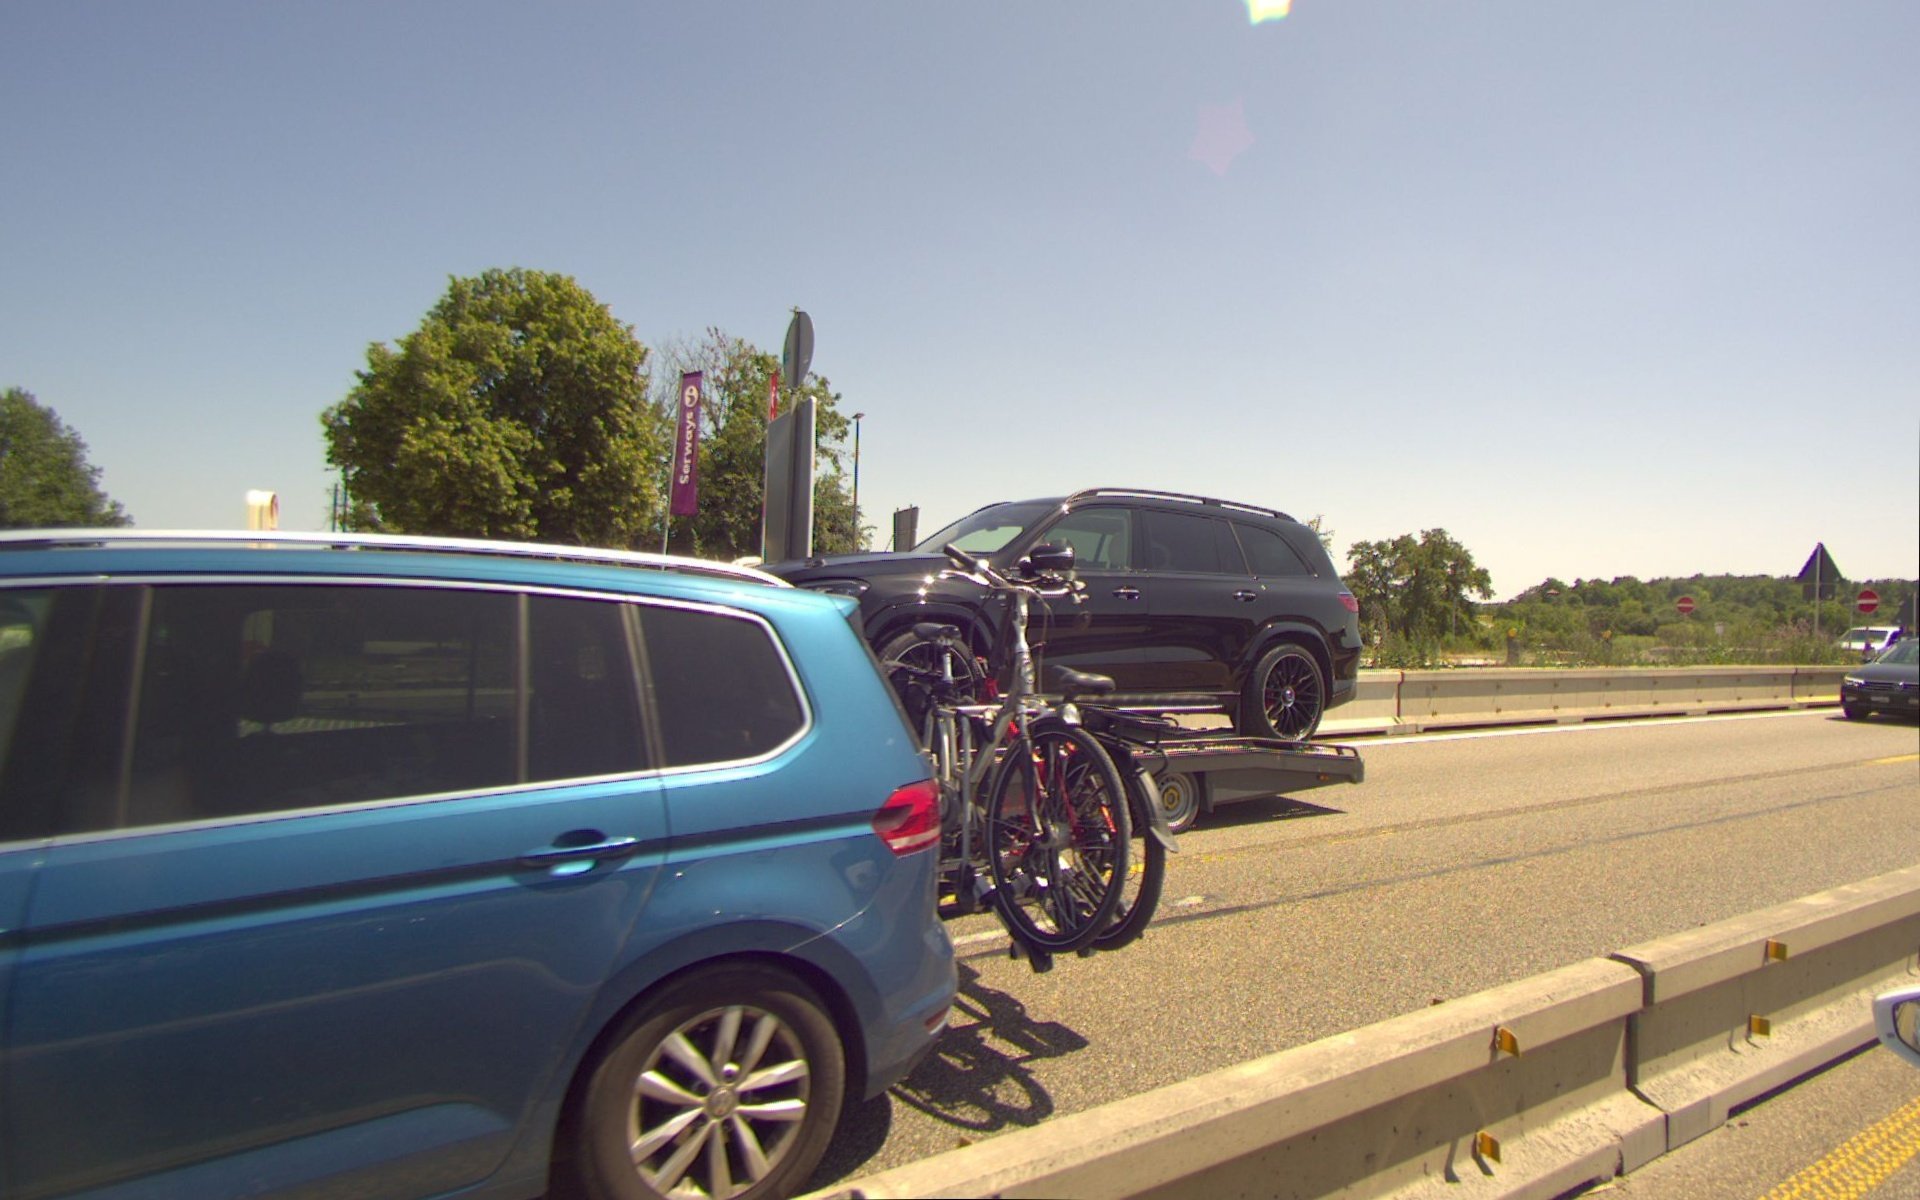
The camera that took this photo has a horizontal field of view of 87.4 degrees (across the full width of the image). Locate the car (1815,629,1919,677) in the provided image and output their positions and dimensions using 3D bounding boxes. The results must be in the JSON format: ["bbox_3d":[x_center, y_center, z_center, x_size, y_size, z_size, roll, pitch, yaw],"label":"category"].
[{"bbox_3d":[39.942,2.277,44.136,5.029,1.967,1.910,0,0,-28],"label":"car"}]

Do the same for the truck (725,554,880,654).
[{"bbox_3d":[-6.676,0.187,43.492,6.224,4.038,3.159,1,-1,-3],"label":"truck"}]

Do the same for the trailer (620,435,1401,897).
[{"bbox_3d":[0.561,0.401,7.466,5.549,2.345,2.171,1,-2,-31],"label":"trailer"}]

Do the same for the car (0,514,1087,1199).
[{"bbox_3d":[-1.849,0.680,2.397,3.953,1.630,1.895,1,0,-30],"label":"car"}]

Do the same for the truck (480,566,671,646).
[{"bbox_3d":[-16.071,0.290,42.472,6.991,3.104,2.824,1,-1,-9],"label":"truck"}]

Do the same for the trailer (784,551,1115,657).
[{"bbox_3d":[-0.468,0.226,43.897,13.890,4.166,3.159,1,-1,-3],"label":"trailer"}]

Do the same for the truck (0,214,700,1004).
[{"bbox_3d":[-5.358,0.019,3.961,8.034,2.862,2.468,1,-1,-31],"label":"truck"}]

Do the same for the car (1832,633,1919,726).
[{"bbox_3d":[17.168,1.335,17.566,4.286,1.472,1.679,1,-1,-31],"label":"car"}]
